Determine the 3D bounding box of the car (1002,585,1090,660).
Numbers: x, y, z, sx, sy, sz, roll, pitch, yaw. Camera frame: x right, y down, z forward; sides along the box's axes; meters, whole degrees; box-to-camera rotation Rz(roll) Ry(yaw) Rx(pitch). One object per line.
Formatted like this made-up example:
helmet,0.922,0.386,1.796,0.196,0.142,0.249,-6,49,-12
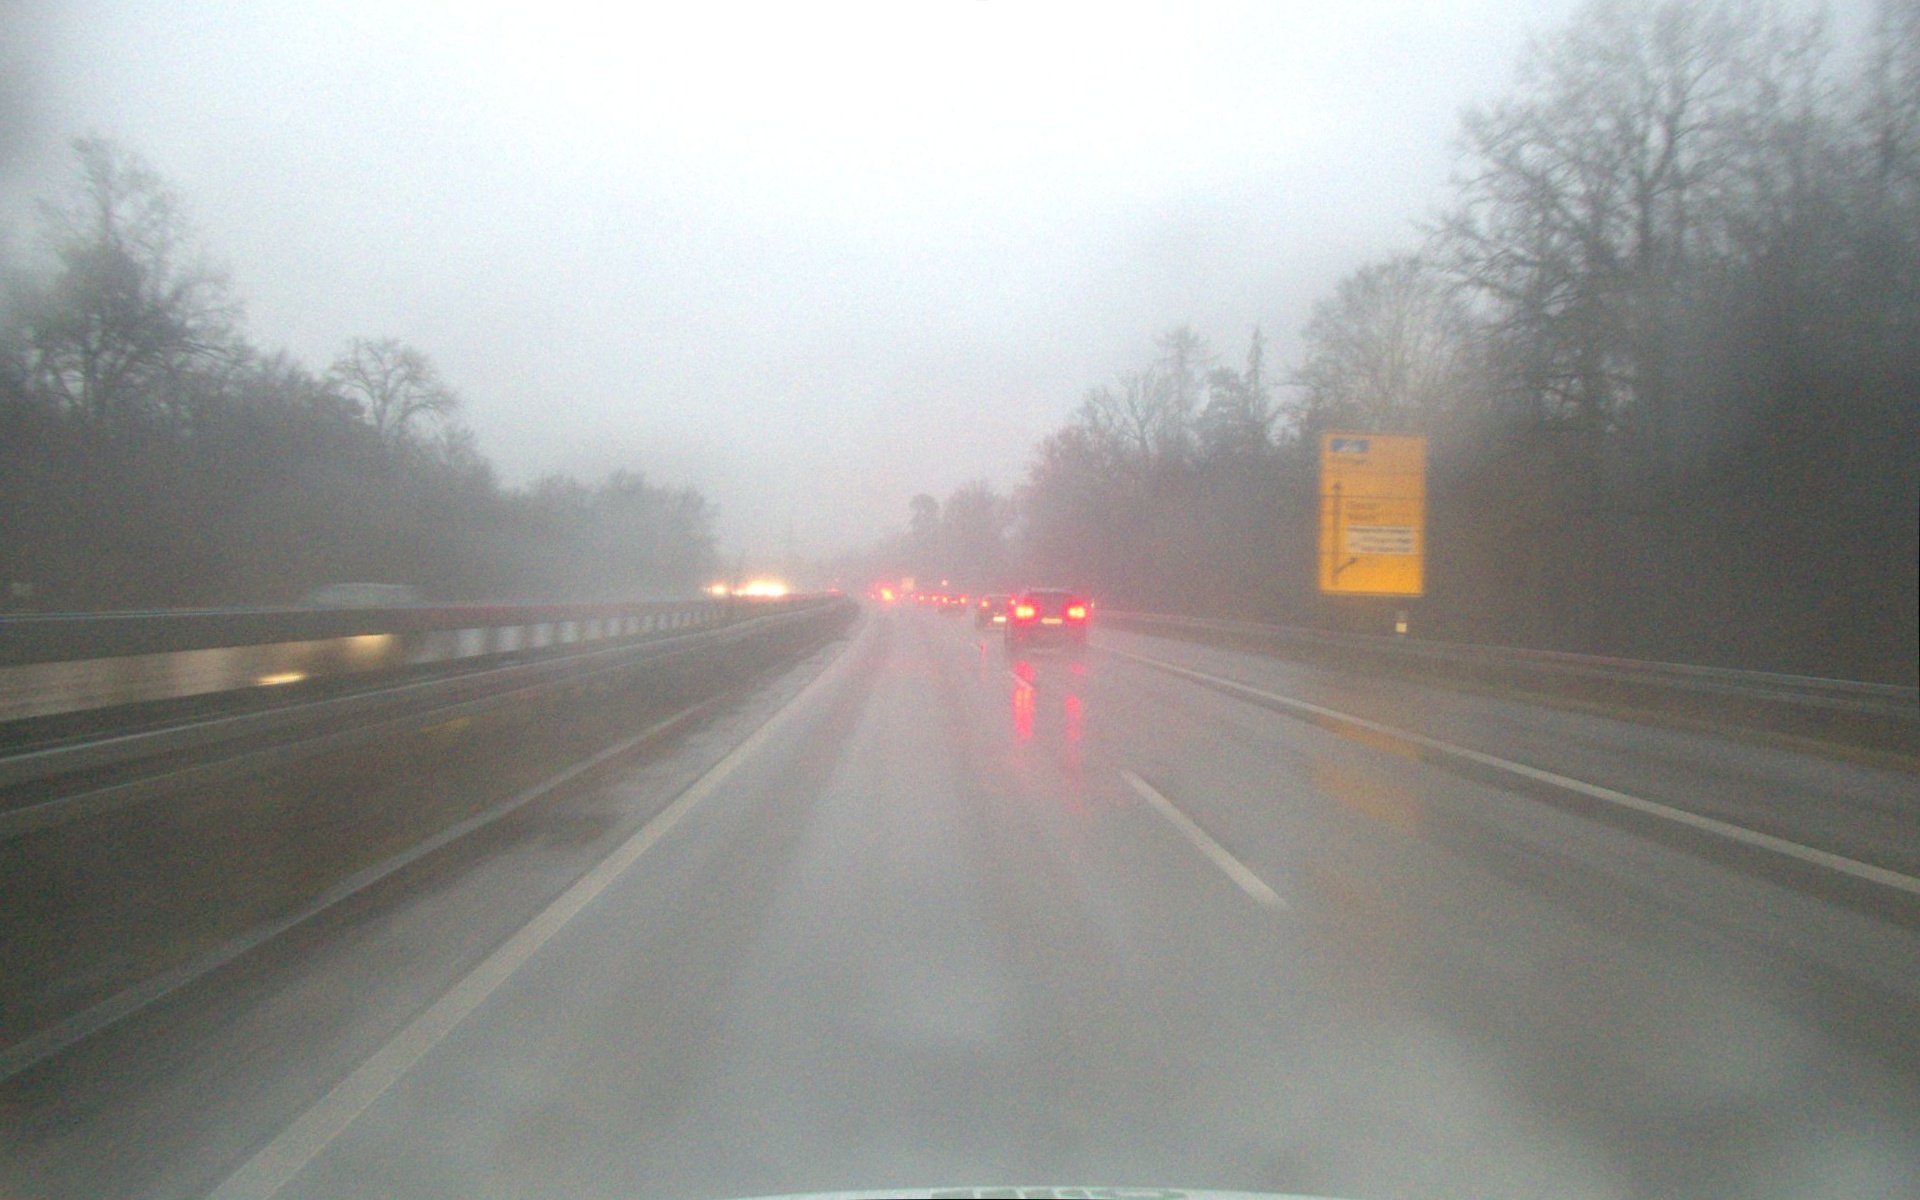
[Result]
car,2.082,0.548,41.064,1.951,1.745,3.829,1,0,0

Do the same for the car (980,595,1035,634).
car,1.887,0.579,66.905,1.953,1.445,3.998,3,-1,-2

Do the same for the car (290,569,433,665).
car,-10.987,0.299,30.611,1.558,1.656,3.795,1,0,-6
